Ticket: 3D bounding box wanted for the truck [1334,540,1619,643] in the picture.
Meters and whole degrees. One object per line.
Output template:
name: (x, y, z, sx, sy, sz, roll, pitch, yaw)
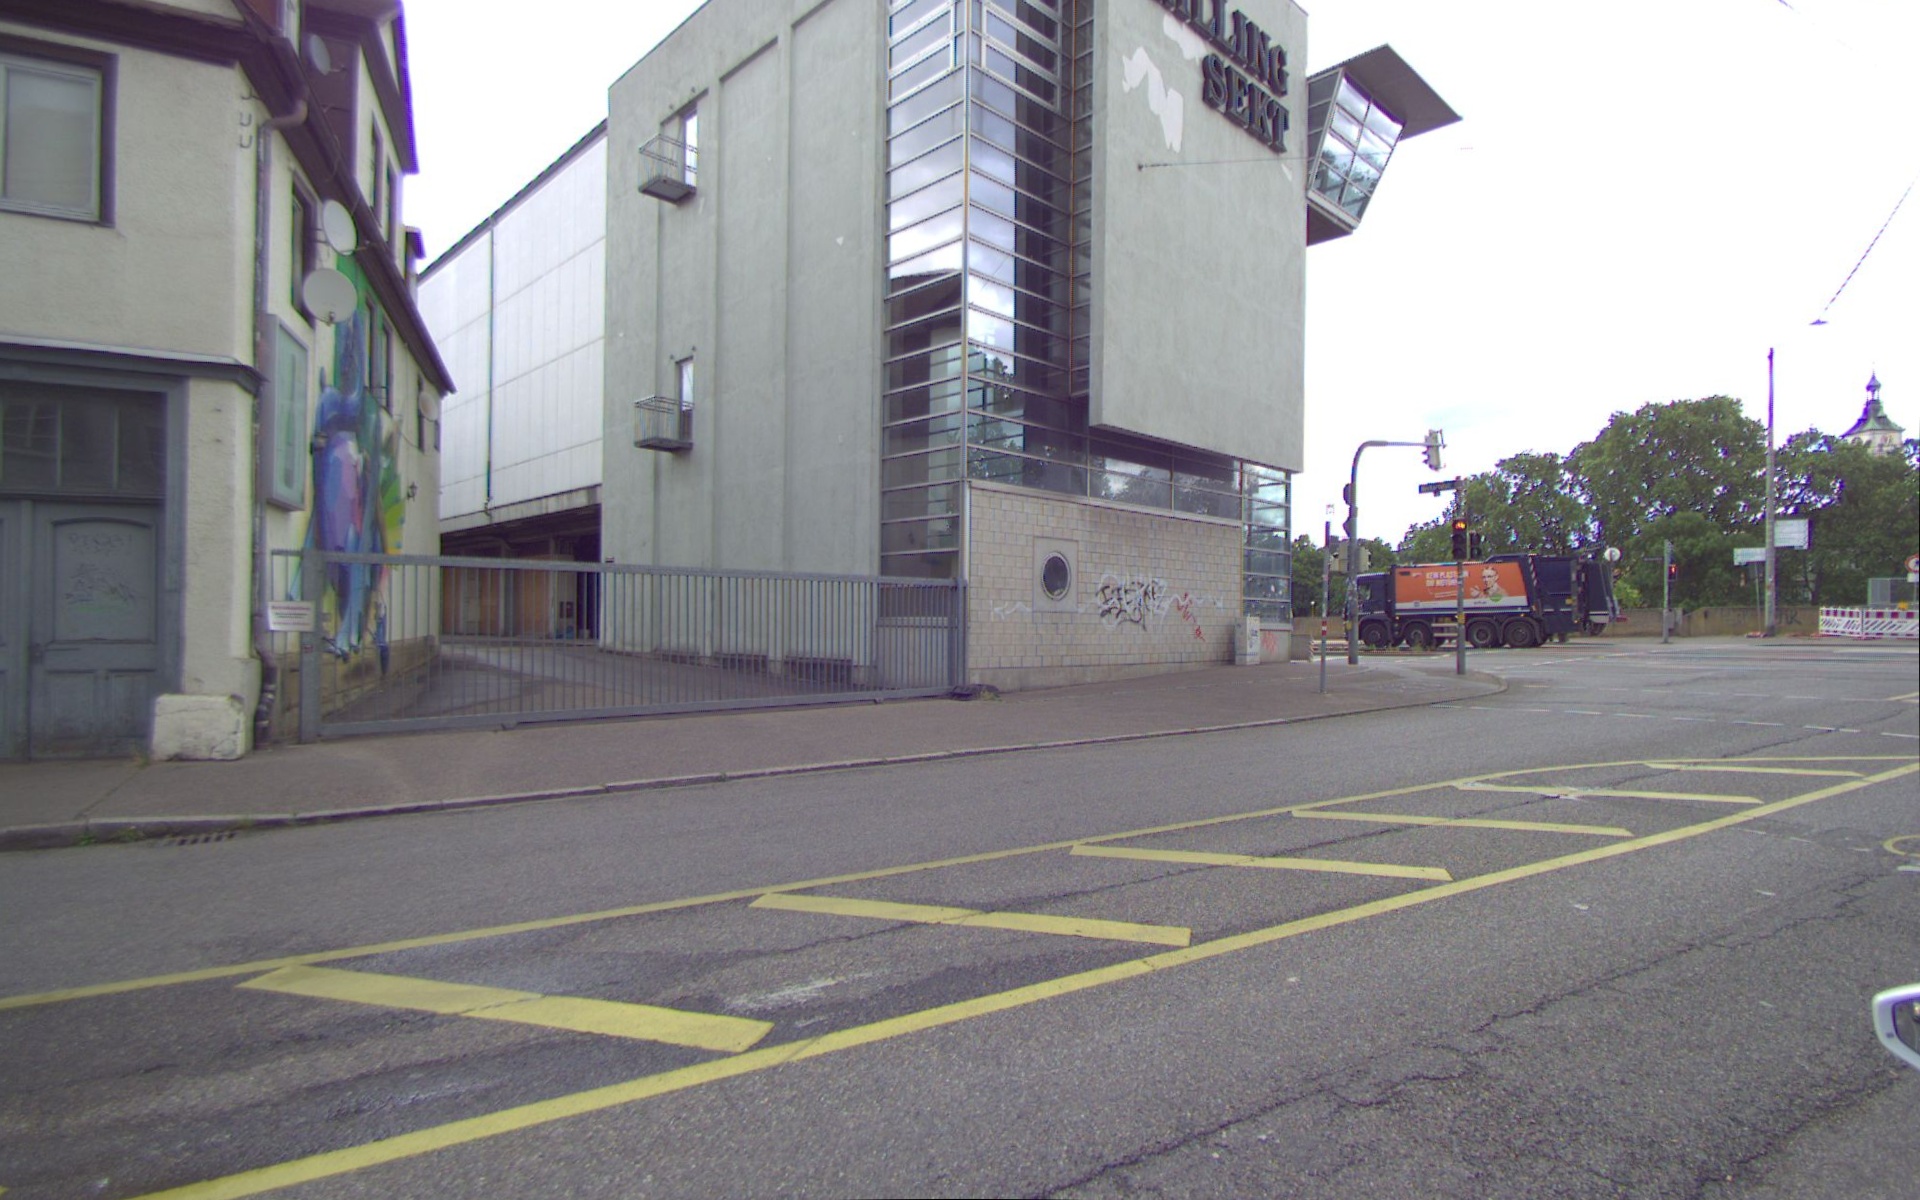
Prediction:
truck: (20.640, -0.296, 40.809, 10.072, 3.745, 2.258, 0, -1, 43)
